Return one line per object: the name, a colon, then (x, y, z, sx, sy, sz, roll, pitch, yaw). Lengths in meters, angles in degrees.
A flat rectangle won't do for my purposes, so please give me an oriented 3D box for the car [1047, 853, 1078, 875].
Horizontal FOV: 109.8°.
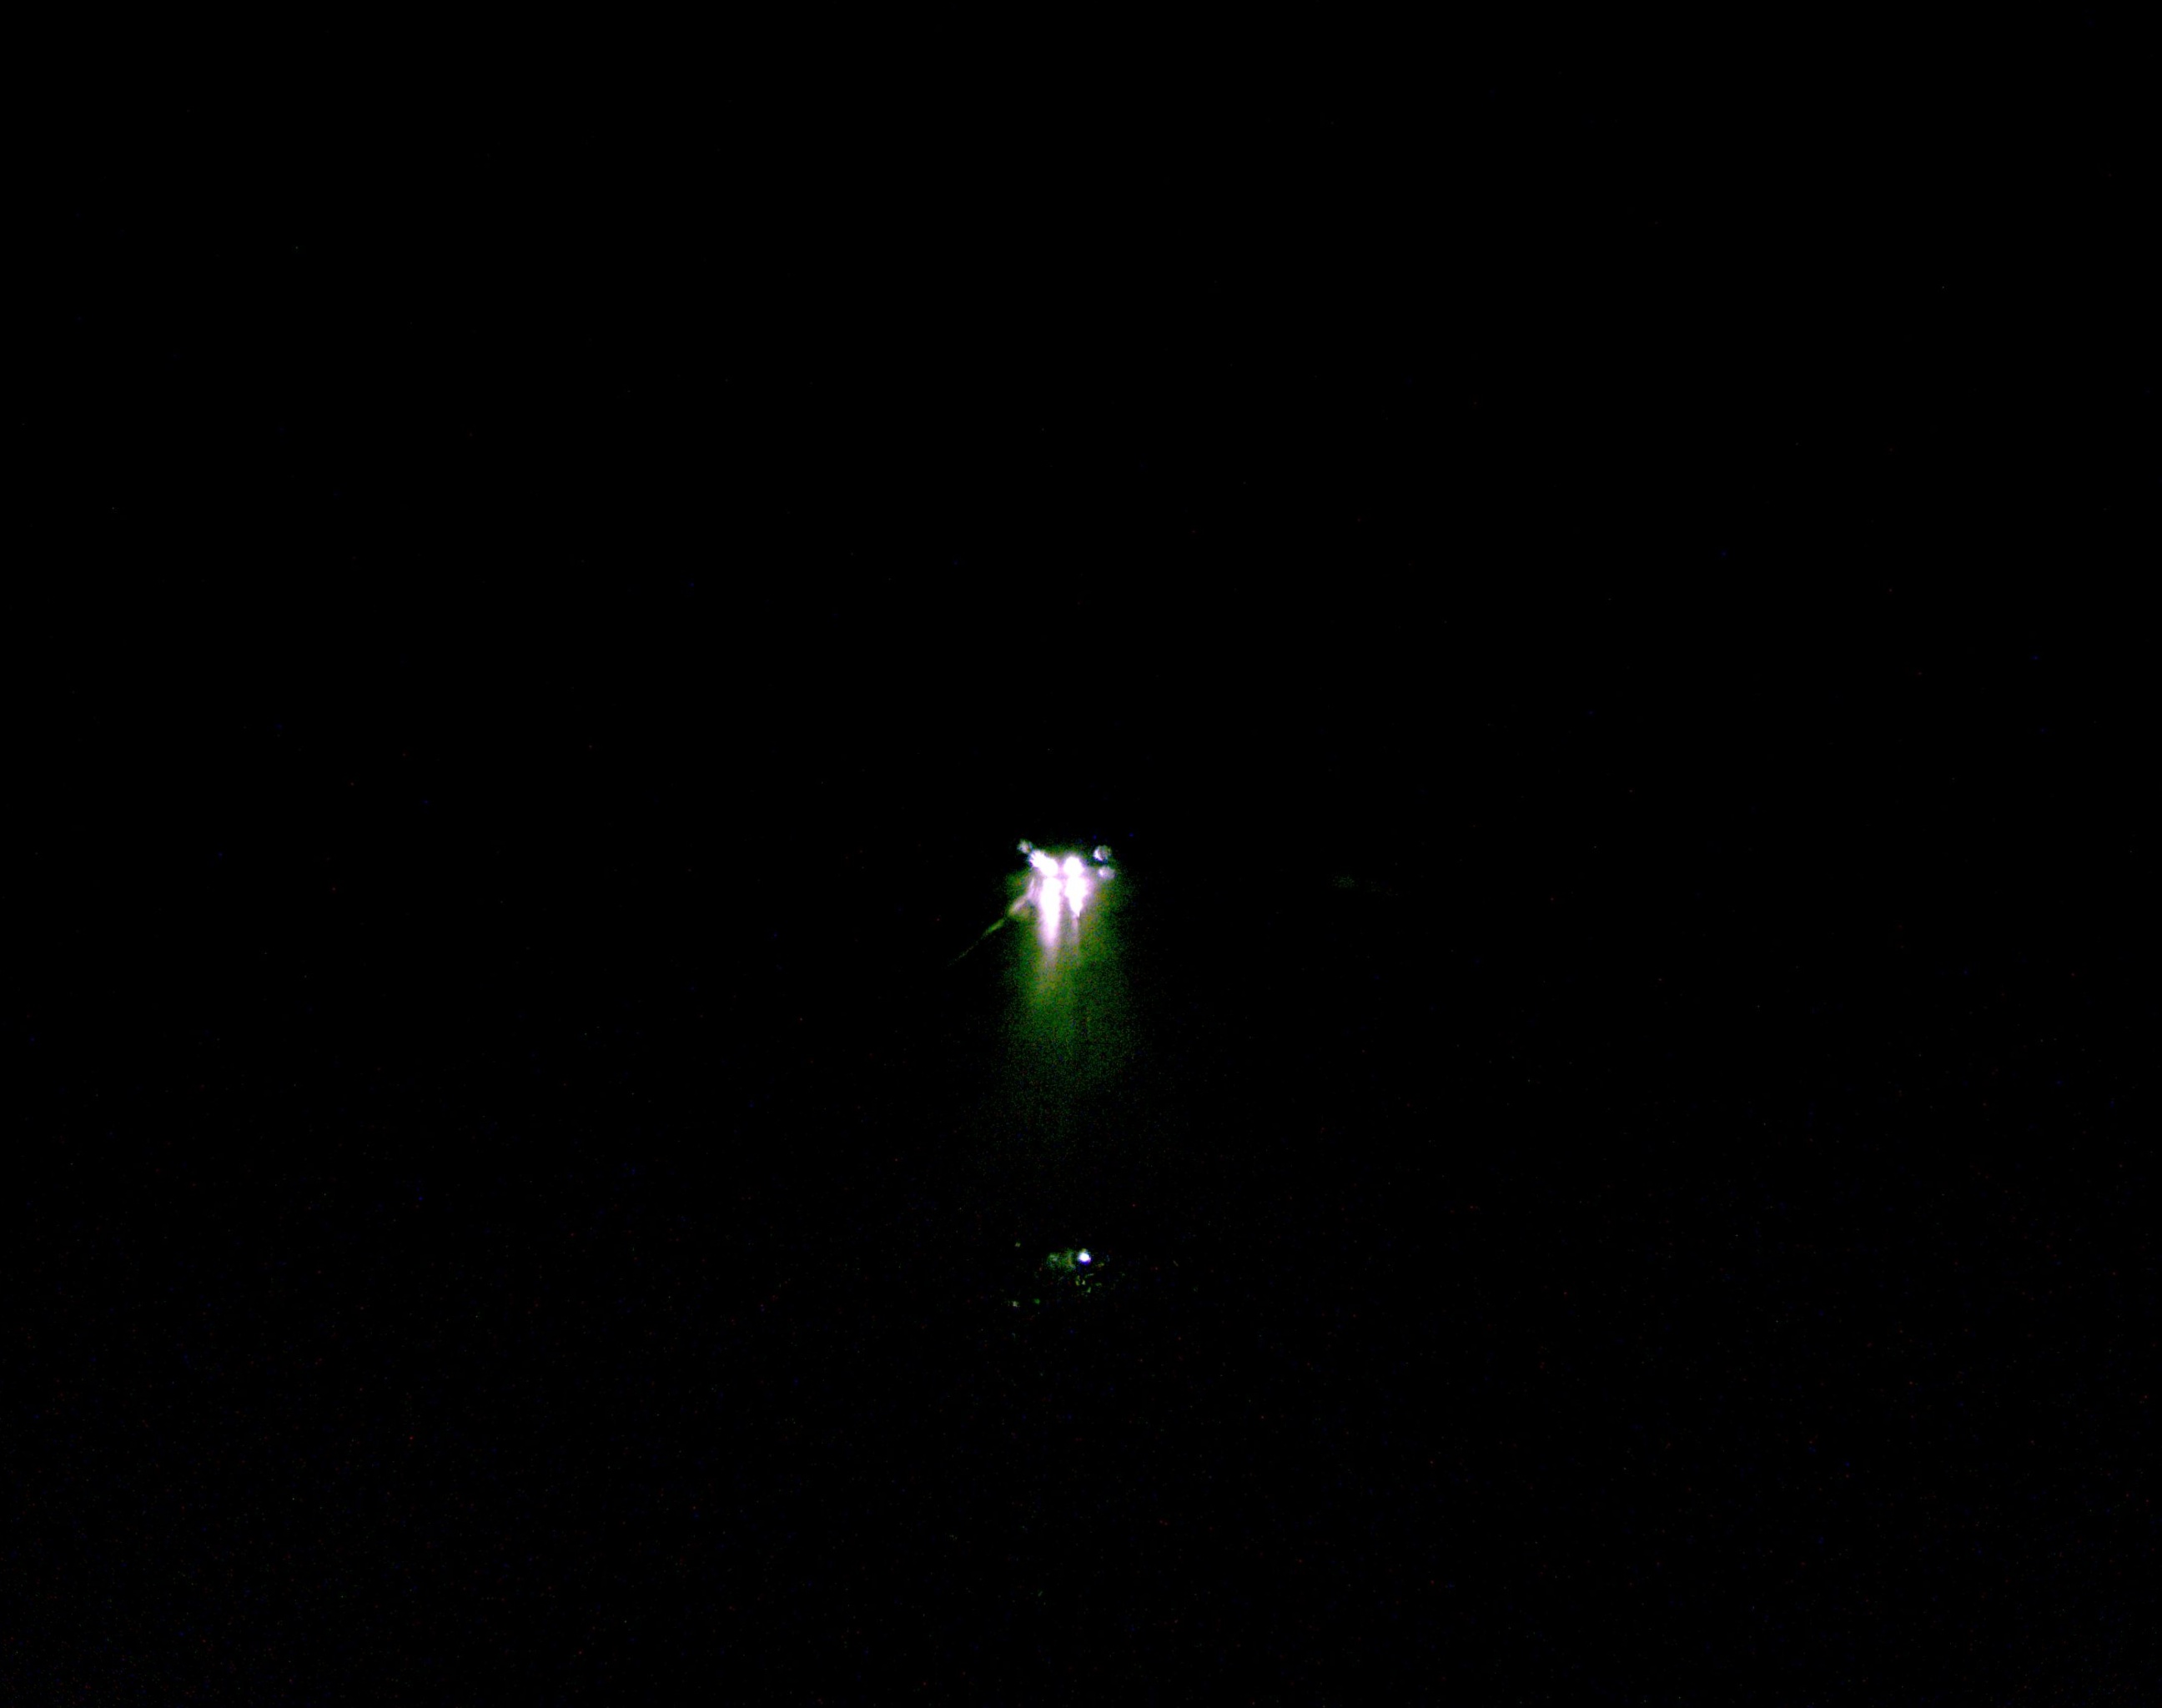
car: (-1.327, 0.662, 53.854, 1.777, 1.444, 4.133, -3, 1, -6)
